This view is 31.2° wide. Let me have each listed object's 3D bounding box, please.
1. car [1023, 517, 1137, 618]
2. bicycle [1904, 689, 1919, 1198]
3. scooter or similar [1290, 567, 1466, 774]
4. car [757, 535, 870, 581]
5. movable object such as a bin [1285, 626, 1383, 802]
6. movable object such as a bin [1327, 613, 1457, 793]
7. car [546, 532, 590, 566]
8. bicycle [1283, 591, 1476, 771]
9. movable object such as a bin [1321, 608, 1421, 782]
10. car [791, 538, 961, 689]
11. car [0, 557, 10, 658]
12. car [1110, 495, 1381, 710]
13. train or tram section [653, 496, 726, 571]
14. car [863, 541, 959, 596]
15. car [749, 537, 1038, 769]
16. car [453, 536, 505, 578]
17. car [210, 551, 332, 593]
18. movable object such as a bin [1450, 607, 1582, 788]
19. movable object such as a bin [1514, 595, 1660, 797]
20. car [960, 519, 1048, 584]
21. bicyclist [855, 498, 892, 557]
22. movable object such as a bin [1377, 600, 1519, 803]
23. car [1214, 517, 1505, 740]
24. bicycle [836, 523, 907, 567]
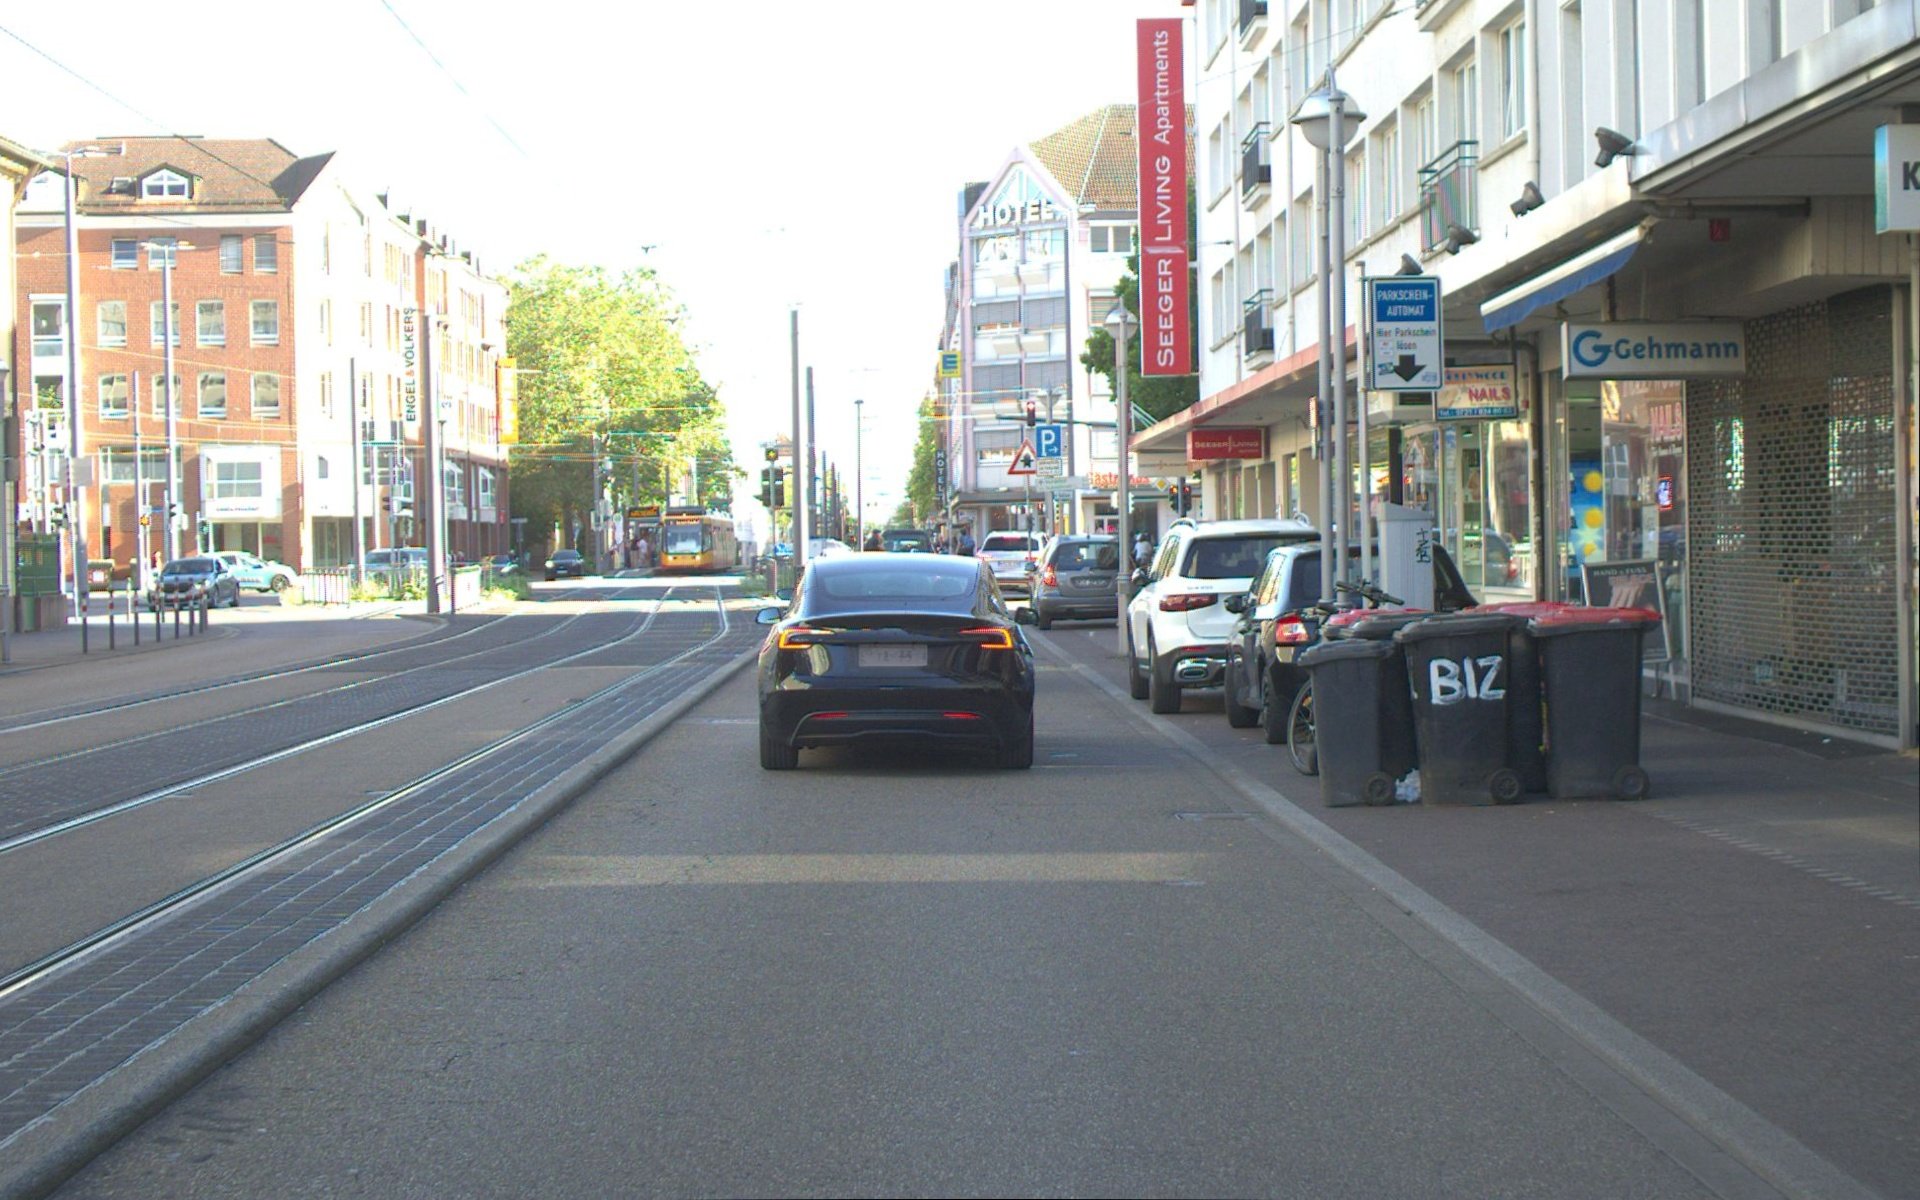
[{"bbox_3d":[2.036,-0.583,59.158,1.745,1.626,3.649,-2,1,0],"label":"car"},{"bbox_3d":[3.065,0.762,7.513,1.787,1.155,0.669,-2,1,-1],"label":"bicycle"},{"bbox_3d":[2.594,0.434,21.345,0.992,1.227,0.320,-3,1,-2],"label":"scooter or similar"},{"bbox_3d":[-5.769,-1.669,135.385,3.988,1.733,1.999,-2,1,-38],"label":"car"},{"bbox_3d":[2.107,0.638,19.407,0.487,0.955,0.457,-2,1,3],"label":"movable object such as a bin"},{"bbox_3d":[2.516,0.593,20.067,0.686,1.010,0.508,-1,1,2],"label":"movable object such as a bin"},{"bbox_3d":[-19.638,-2.571,172.266,1.751,1.645,4.000,1,1,0],"label":"car"},{"bbox_3d":[2.652,0.509,21.778,1.131,1.076,0.320,-3,1,-2],"label":"bicycle"},{"bbox_3d":[2.481,0.565,20.810,0.522,1.010,0.671,-1,1,2],"label":"movable object such as a bin"},{"bbox_3d":[-0.828,0.099,35.799,1.653,1.413,4.000,1,2,0],"label":"car"},{"bbox_3d":[-14.079,0.115,46.259,1.614,1.396,3.720,1,1,-1],"label":"car"},{"bbox_3d":[2.496,-0.016,31.313,1.849,1.718,5.193,-3,1,-1],"label":"car"},{"bbox_3d":[-13.975,-3.400,178.604,2.674,3.703,14.193,1,1,0],"label":"train or tram section"},{"bbox_3d":[-1.422,-0.914,97.969,1.824,1.514,4.219,1,1,-13],"label":"car"},{"bbox_3d":[-0.488,0.316,23.991,1.849,1.479,3.787,1,1,-2],"label":"car"},{"bbox_3d":[-23.664,-2.108,169.220,1.993,2.007,4.000,1,1,-1],"label":"car"},{"bbox_3d":[-24.509,-0.998,122.393,1.997,1.415,3.992,2,1,34],"label":"car"},{"bbox_3d":[3.235,0.559,20.028,0.658,1.010,0.636,-1,1,2],"label":"movable object such as a bin"},{"bbox_3d":[3.504,0.528,19.259,0.690,1.085,0.666,-2,1,3],"label":"movable object such as a bin"},{"bbox_3d":[1.032,-1.170,82.992,1.783,1.514,4.219,1,1,-4],"label":"car"},{"bbox_3d":[-2.211,-1.845,87.837,0.836,1.494,0.560,1,1,-8],"label":"bicyclist"},{"bbox_3d":[2.727,0.560,19.269,0.690,1.085,0.685,-2,1,3],"label":"movable object such as a bin"},{"bbox_3d":[2.962,0.173,26.201,1.614,1.523,4.071,-2,1,-1],"label":"car"},{"bbox_3d":[-2.263,-1.417,87.850,1.727,1.084,0.678,1,1,-8],"label":"bicycle"}]
